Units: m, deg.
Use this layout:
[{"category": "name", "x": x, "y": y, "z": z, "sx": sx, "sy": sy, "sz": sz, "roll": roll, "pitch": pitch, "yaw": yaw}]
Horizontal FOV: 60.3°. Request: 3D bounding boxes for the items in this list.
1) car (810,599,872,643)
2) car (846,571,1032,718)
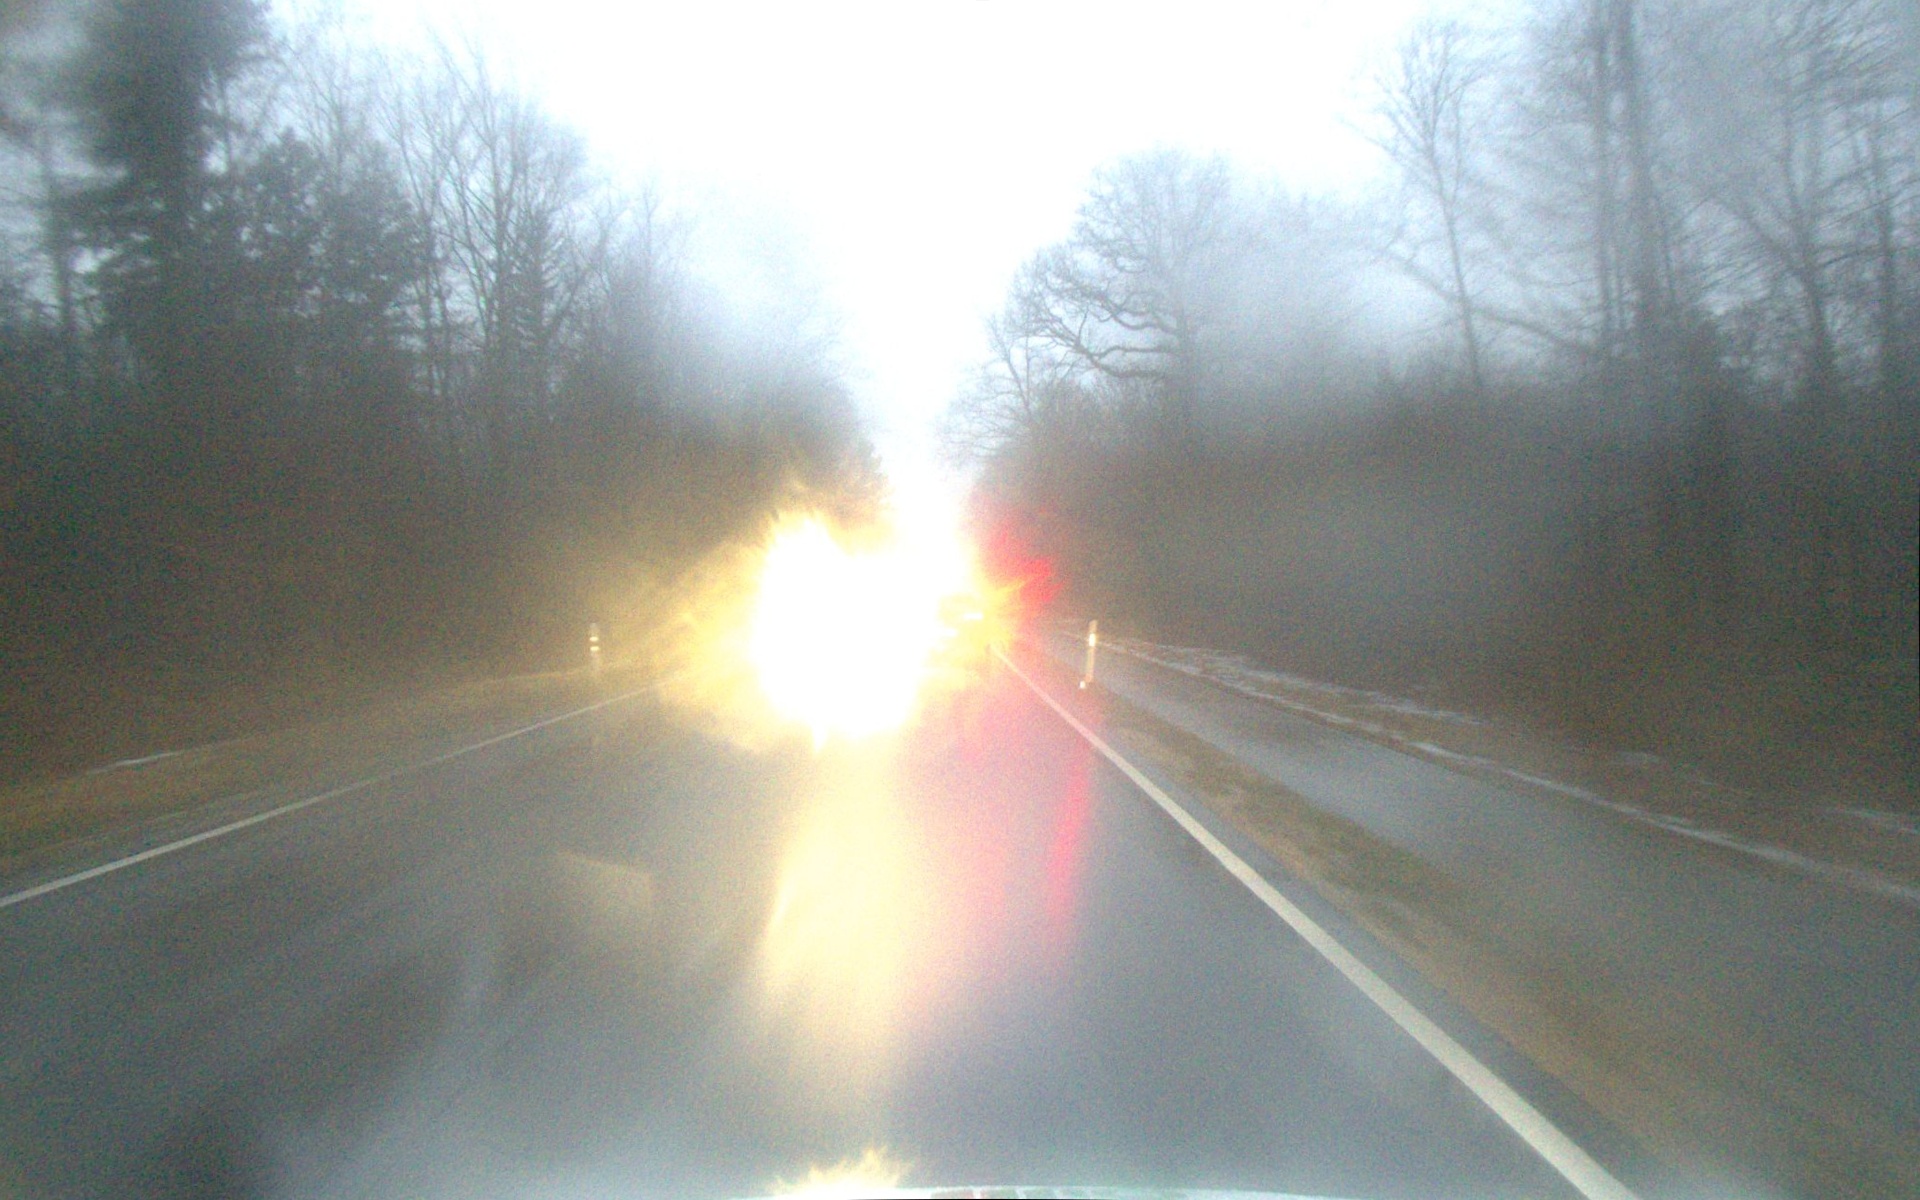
[{"category": "car", "x": -4.592, "y": 0.775, "z": 64.520, "sx": 1.934, "sy": 1.595, "sz": 4.928, "roll": -1, "pitch": 0, "yaw": 1}, {"category": "car", "x": -0.355, "y": 0.771, "z": 31.356, "sx": 3.118, "sy": 2.428, "sz": 6.636, "roll": 1, "pitch": 0, "yaw": 0}]
